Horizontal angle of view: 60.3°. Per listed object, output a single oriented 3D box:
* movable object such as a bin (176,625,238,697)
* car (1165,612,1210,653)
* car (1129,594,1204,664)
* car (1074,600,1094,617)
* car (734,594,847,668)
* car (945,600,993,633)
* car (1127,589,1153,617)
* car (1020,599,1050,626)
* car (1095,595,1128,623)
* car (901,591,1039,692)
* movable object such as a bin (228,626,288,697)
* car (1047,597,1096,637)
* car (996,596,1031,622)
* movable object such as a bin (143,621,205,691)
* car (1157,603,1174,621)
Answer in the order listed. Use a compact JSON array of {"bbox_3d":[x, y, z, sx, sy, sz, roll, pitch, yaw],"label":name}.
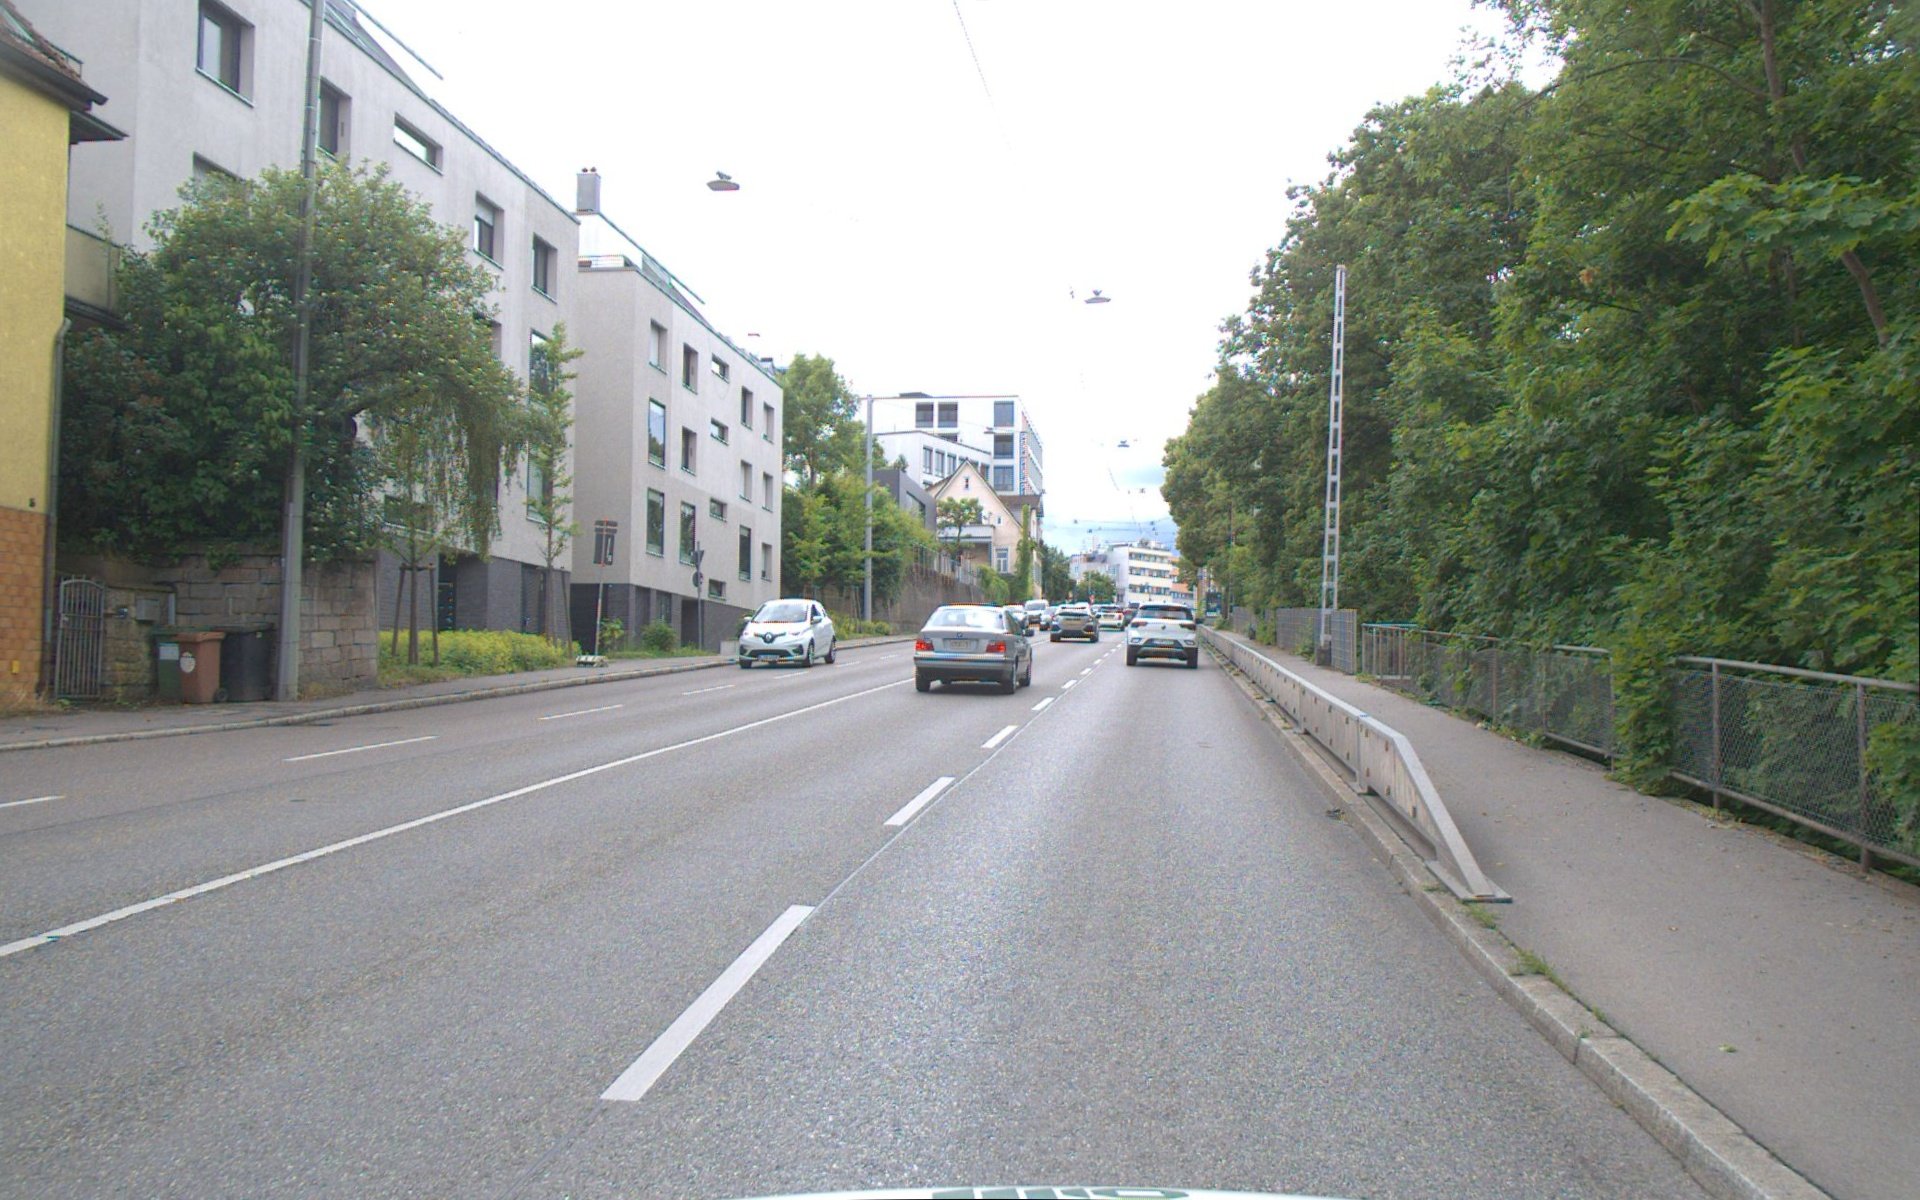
[{"bbox_3d":[-9.978,0.800,21.934,0.557,0.901,0.609,3,-1,-9],"label":"movable object such as a bin"},{"bbox_3d":[9.018,1.281,65.735,1.670,1.489,4.003,3,-1,7],"label":"car"},{"bbox_3d":[5.142,0.709,41.408,1.742,1.606,4.003,2,0,6],"label":"car"},{"bbox_3d":[13.314,0.914,177.587,1.778,1.815,4.498,3,0,7],"label":"car"},{"bbox_3d":[-3.980,0.699,39.431,1.707,1.642,4.059,-1,0,9],"label":"car"},{"bbox_3d":[0.448,0.768,76.735,1.735,1.490,4.194,0,0,7],"label":"car"},{"bbox_3d":[12.076,0.224,110.951,1.621,1.796,3.289,2,0,8],"label":"car"},{"bbox_3d":[5.349,0.888,116.846,1.696,1.820,4.870,-1,0,7],"label":"car"},{"bbox_3d":[8.477,0.494,92.438,1.670,1.489,4.003,1,0,7],"label":"car"},{"bbox_3d":[0.248,0.669,27.367,1.670,1.490,4.003,2,-1,9],"label":"car"},{"bbox_3d":[-9.387,0.816,22.118,0.557,0.901,0.609,3,-1,-9],"label":"movable object such as a bin"},{"bbox_3d":[4.355,0.629,64.243,1.670,1.489,4.003,1,0,7],"label":"car"},{"bbox_3d":[3.269,0.547,100.660,1.696,1.489,4.427,-1,0,7],"label":"car"},{"bbox_3d":[-10.668,0.760,22.460,0.557,0.901,0.609,3,-1,-9],"label":"movable object such as a bin"},{"bbox_3d":[24.801,1.415,199.811,1.951,2.049,4.003,2,0,8],"label":"car"}]
